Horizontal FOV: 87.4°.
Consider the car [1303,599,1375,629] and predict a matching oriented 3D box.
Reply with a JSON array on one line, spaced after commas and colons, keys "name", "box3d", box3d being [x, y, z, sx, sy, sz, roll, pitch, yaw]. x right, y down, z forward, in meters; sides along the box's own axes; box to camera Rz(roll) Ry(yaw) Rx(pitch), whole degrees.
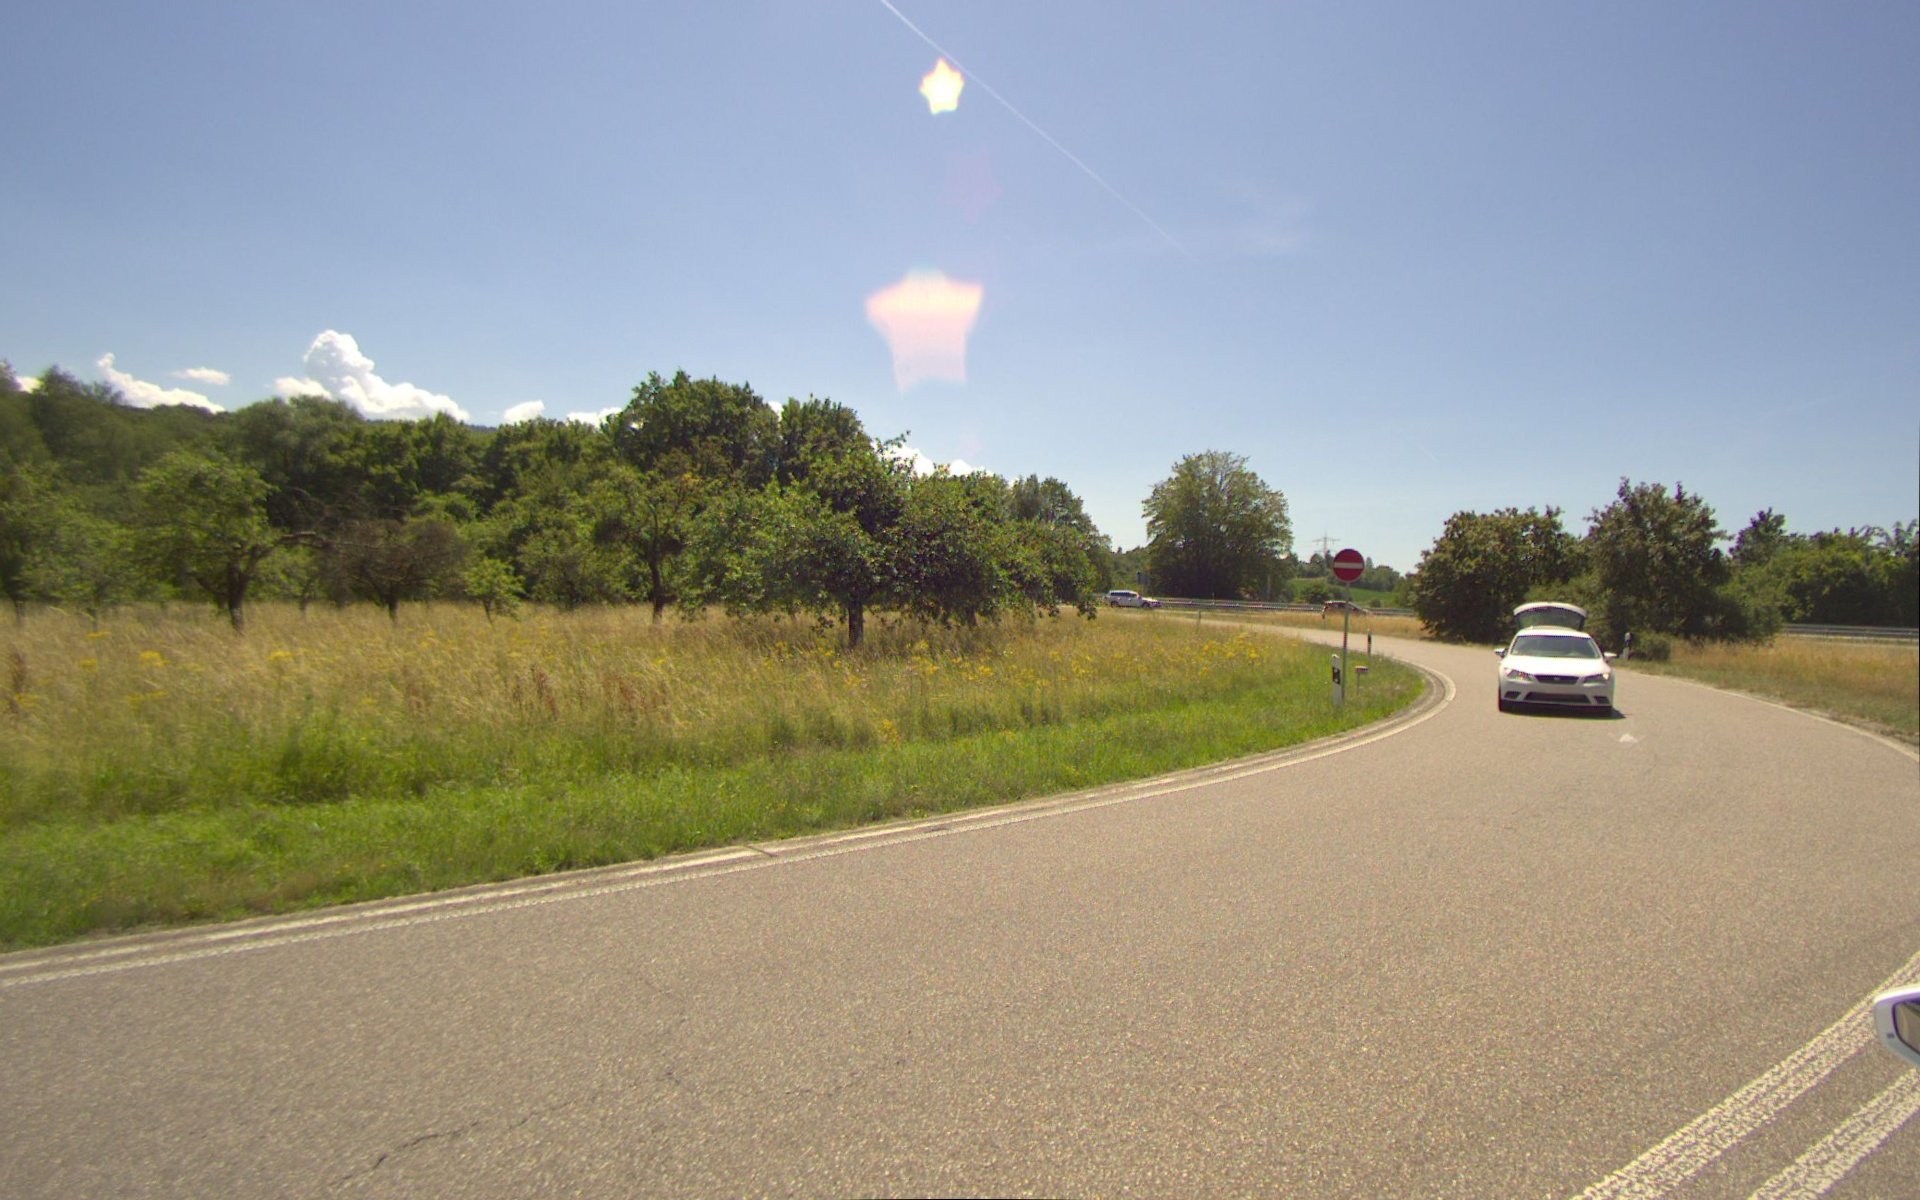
[{"name": "car", "box3d": [27.285, 1.014, 72.396, 4.452, 1.813, 1.994, 4, 1, 34]}]

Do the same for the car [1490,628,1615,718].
[{"name": "car", "box3d": [11.085, 1.266, 18.833, 1.820, 1.443, 4.139, -1, -1, 31]}]

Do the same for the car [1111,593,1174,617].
[{"name": "car", "box3d": [15.049, 0.377, 82.675, 4.695, 1.813, 1.998, 2, 0, 25]}]
